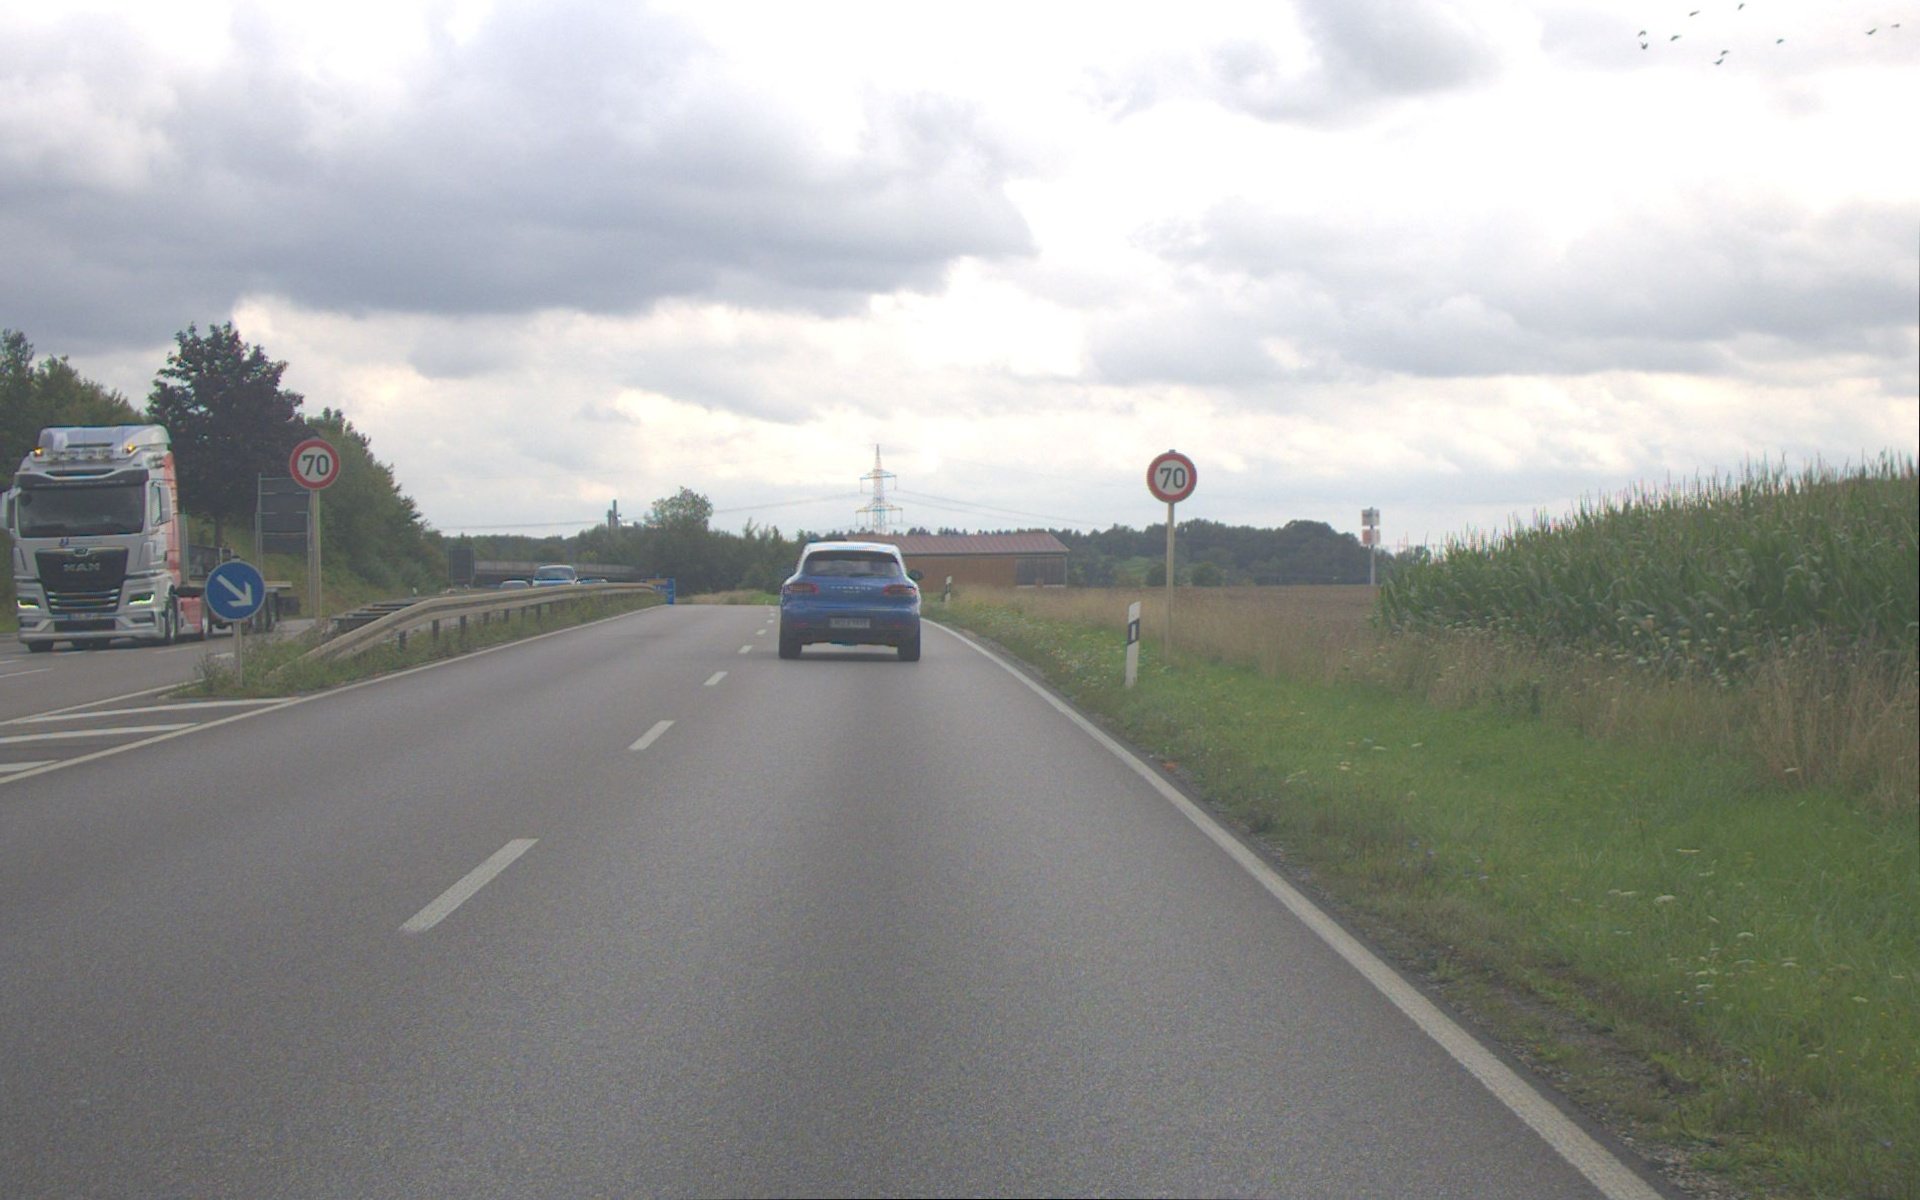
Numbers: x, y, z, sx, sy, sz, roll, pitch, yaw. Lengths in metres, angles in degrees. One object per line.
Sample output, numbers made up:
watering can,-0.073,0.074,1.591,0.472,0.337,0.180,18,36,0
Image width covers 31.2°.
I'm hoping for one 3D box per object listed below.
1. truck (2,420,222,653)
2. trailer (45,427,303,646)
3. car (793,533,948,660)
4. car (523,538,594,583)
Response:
truck,-15.131,-1.157,61.668,2.802,3.983,5.287,0,1,-2
trailer,-15.486,-1.312,68.793,2.775,3.933,12.987,0,1,-3
car,-1.289,-0.077,47.960,2.033,1.655,4.544,1,1,-3
car,-14.085,-1.395,120.723,2.086,1.514,4.193,0,1,-2
